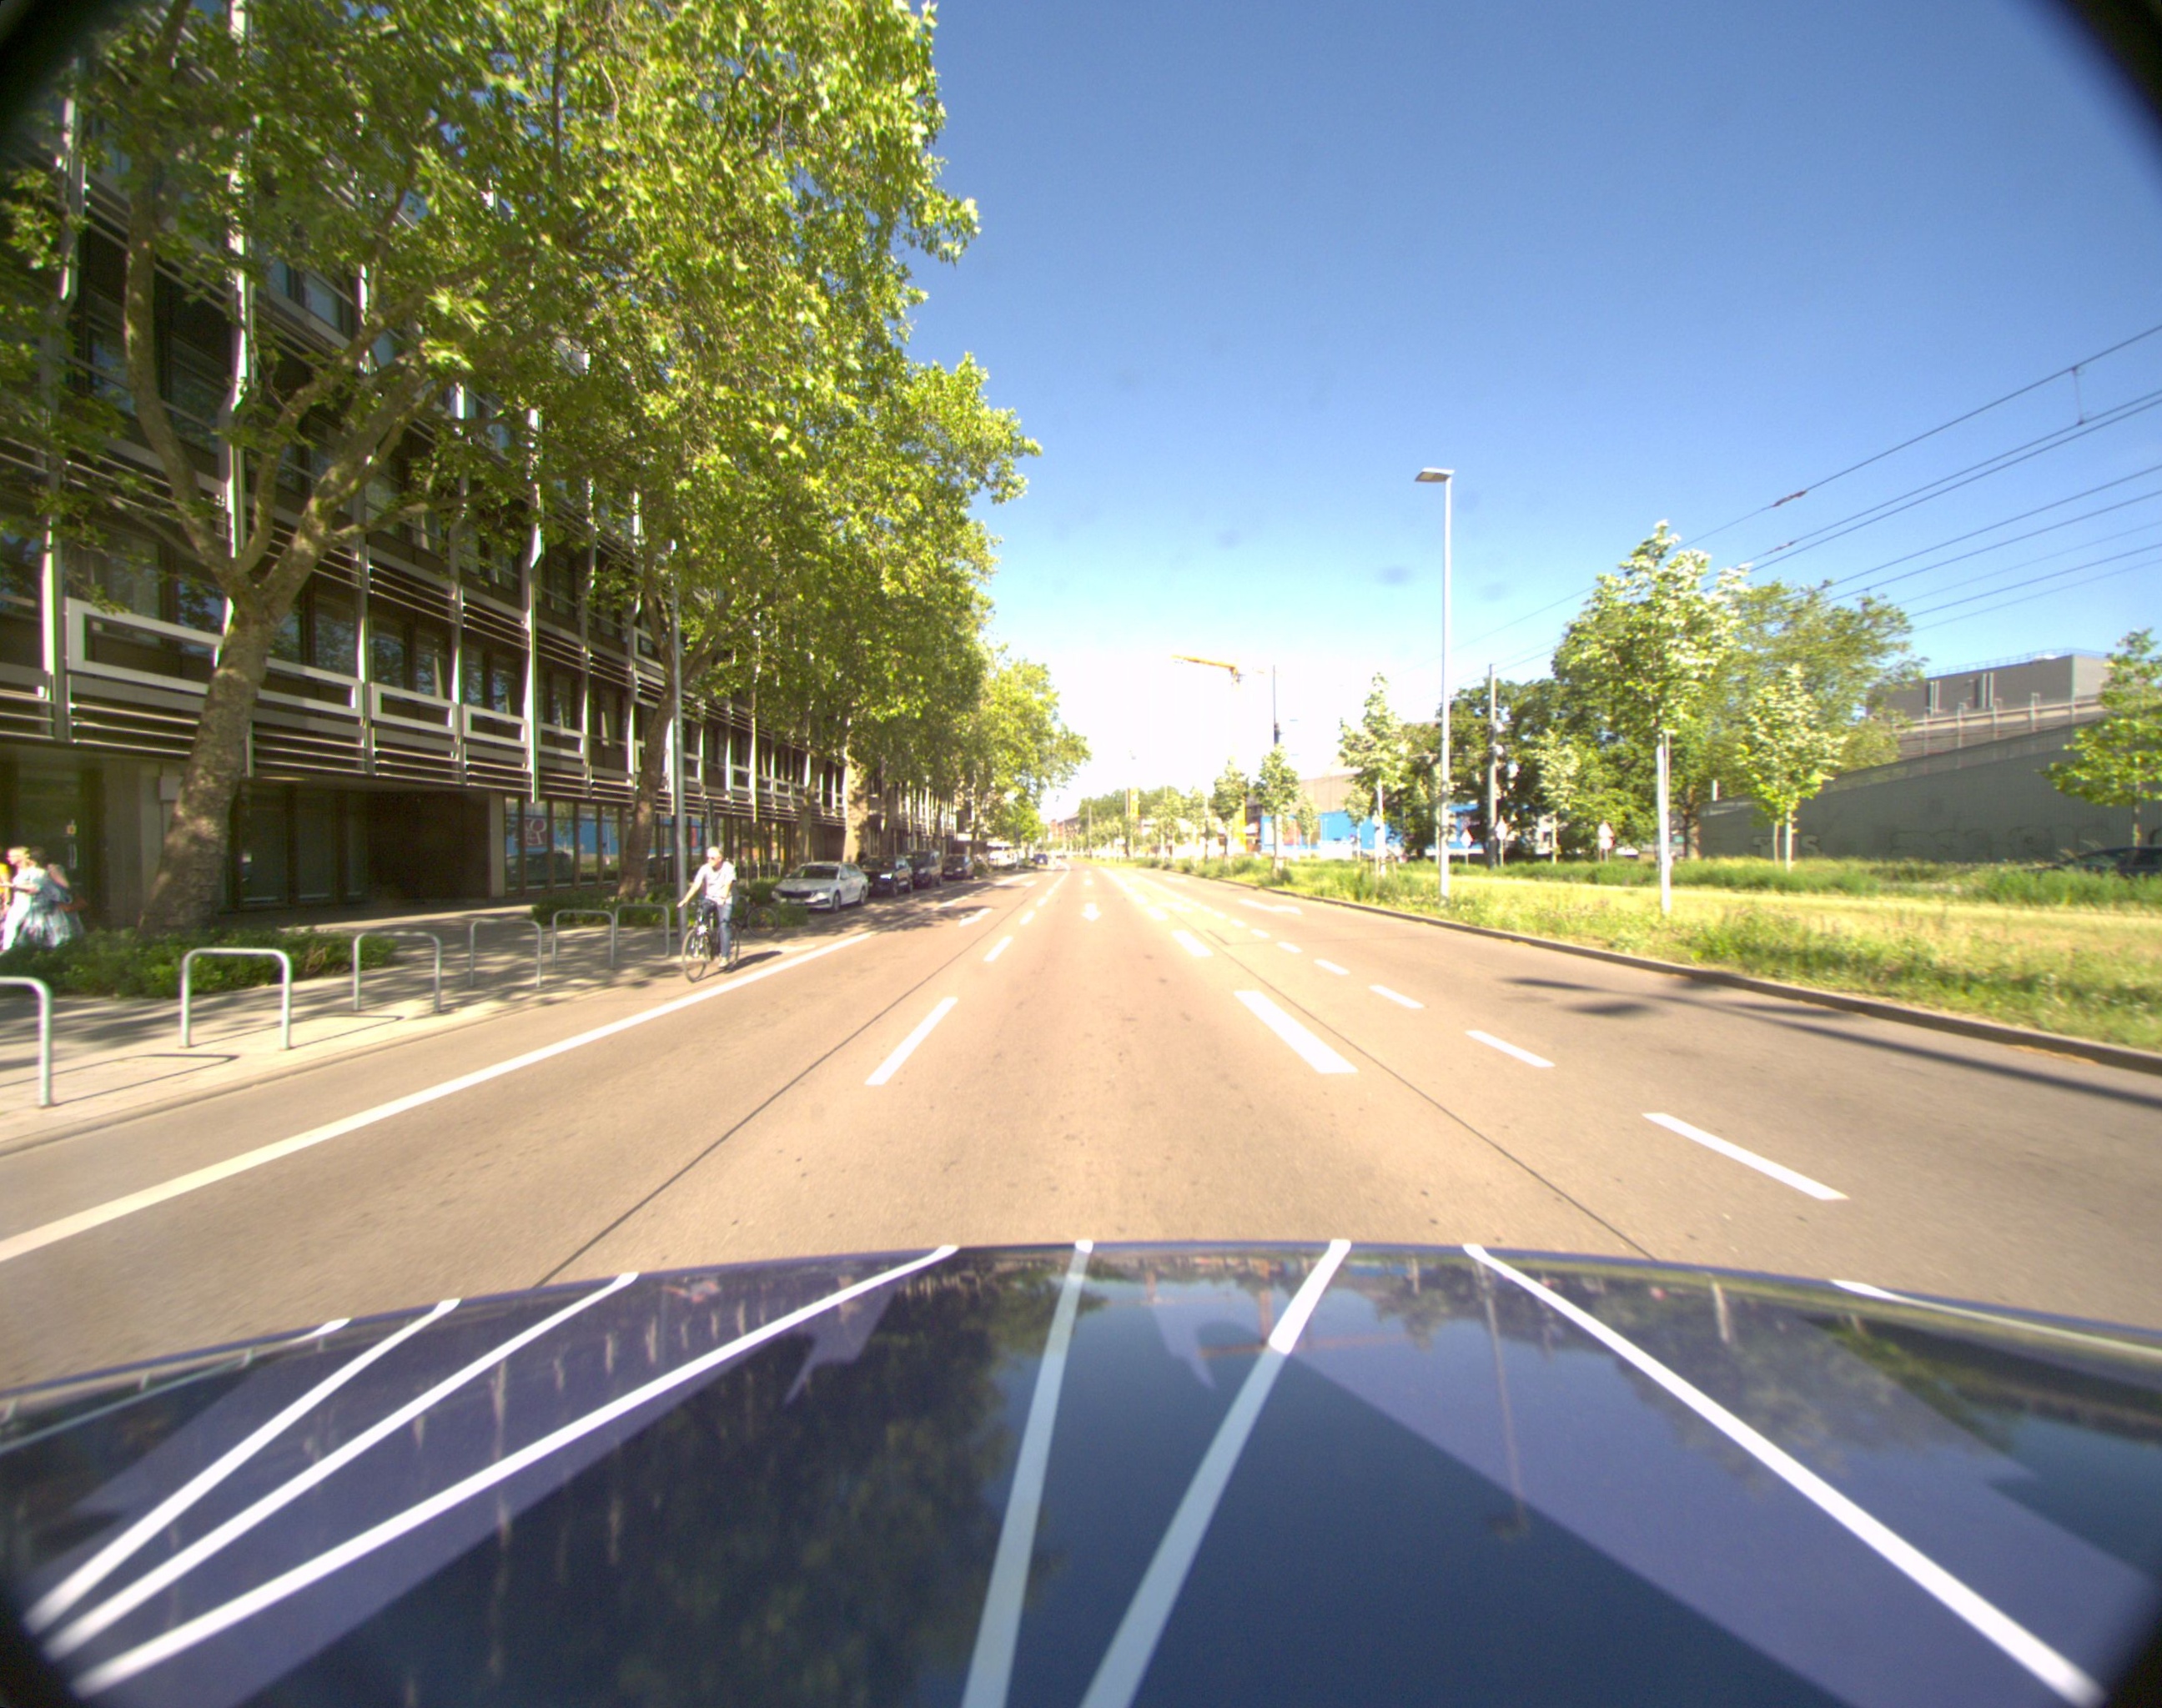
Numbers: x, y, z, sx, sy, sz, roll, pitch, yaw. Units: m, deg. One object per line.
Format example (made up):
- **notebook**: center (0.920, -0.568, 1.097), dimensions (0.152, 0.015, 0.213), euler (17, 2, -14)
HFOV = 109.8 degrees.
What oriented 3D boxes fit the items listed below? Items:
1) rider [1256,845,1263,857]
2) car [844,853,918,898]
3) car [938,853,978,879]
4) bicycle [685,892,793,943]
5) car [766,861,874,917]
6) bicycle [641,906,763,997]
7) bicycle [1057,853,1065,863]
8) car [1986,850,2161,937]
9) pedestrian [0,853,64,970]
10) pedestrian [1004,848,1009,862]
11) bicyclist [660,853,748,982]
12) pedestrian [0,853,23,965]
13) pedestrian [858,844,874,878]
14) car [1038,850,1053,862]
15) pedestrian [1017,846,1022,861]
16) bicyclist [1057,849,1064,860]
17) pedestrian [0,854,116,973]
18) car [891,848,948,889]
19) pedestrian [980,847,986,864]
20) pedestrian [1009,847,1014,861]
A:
- **rider**: center (22.855, -0.382, 97.122), dimensions (0.724, 1.513, 0.631), euler (-1, 1, -2)
- **car**: center (-7.831, 0.805, 30.194), dimensions (1.752, 1.624, 4.337), euler (1, 0, 0)
- **car**: center (-7.584, 0.704, 47.367), dimensions (1.752, 1.545, 4.337), euler (1, 0, 0)
- **bicycle**: center (-6.889, 1.275, 15.369), dimensions (1.849, 0.955, 0.711), euler (1, 0, -4)
- **car**: center (-7.908, 1.001, 23.515), dimensions (1.752, 1.481, 4.559), euler (1, 0, 0)
- **bicycle**: center (-5.184, 1.293, 10.551), dimensions (0.711, 0.987, 1.923), euler (-3, 0, -1)
- **bicycle**: center (-2.486, 0.480, 92.970), dimensions (0.845, 1.123, 2.553), euler (-1, 0, 1)
- **car**: center (22.178, 0.775, 15.845), dimensions (1.830, 1.679, 4.092), euler (-1, 0, 2)
- **pedestrian**: center (-15.075, 0.785, 10.639), dimensions (0.667, 1.591, 0.728), euler (2, 1, 1)
- **pedestrian**: center (-9.536, 0.157, 97.574), dimensions (0.591, 1.830, 0.696), euler (-1, 1, 0)
- **bicyclist**: center (-5.208, 0.848, 10.558), dimensions (0.711, 1.678, 0.852), euler (-3, 1, -1)
- **pedestrian**: center (-15.872, 0.788, 10.652), dimensions (0.667, 1.591, 1.009), euler (2, 1, 1)
- **pedestrian**: center (-12.708, 0.410, 44.876), dimensions (0.741, 2.002, 0.626), euler (-1, 1, 1)
- **car**: center (-5.144, 0.286, 110.380), dimensions (1.999, 1.598, 3.895), euler (-1, 0, -1)
- **pedestrian**: center (-8.016, -0.068, 99.568), dimensions (0.591, 1.830, 0.569), euler (-1, 1, 0)
- **bicyclist**: center (-2.483, 0.069, 92.967), dimensions (0.830, 1.380, 0.903), euler (-1, 1, 1)
- **pedestrian**: center (-14.337, 0.805, 10.659), dimensions (0.667, 1.591, 0.728), euler (2, 1, 1)
- **car**: center (-7.573, 0.626, 35.957), dimensions (1.752, 1.811, 4.337), euler (1, 0, 0)
- **pedestrian**: center (-10.951, 0.177, 84.925), dimensions (0.591, 1.830, 0.697), euler (-1, 1, 0)
- **pedestrian**: center (-9.360, 0.046, 102.020), dimensions (0.591, 1.830, 0.569), euler (-1, 1, 0)
